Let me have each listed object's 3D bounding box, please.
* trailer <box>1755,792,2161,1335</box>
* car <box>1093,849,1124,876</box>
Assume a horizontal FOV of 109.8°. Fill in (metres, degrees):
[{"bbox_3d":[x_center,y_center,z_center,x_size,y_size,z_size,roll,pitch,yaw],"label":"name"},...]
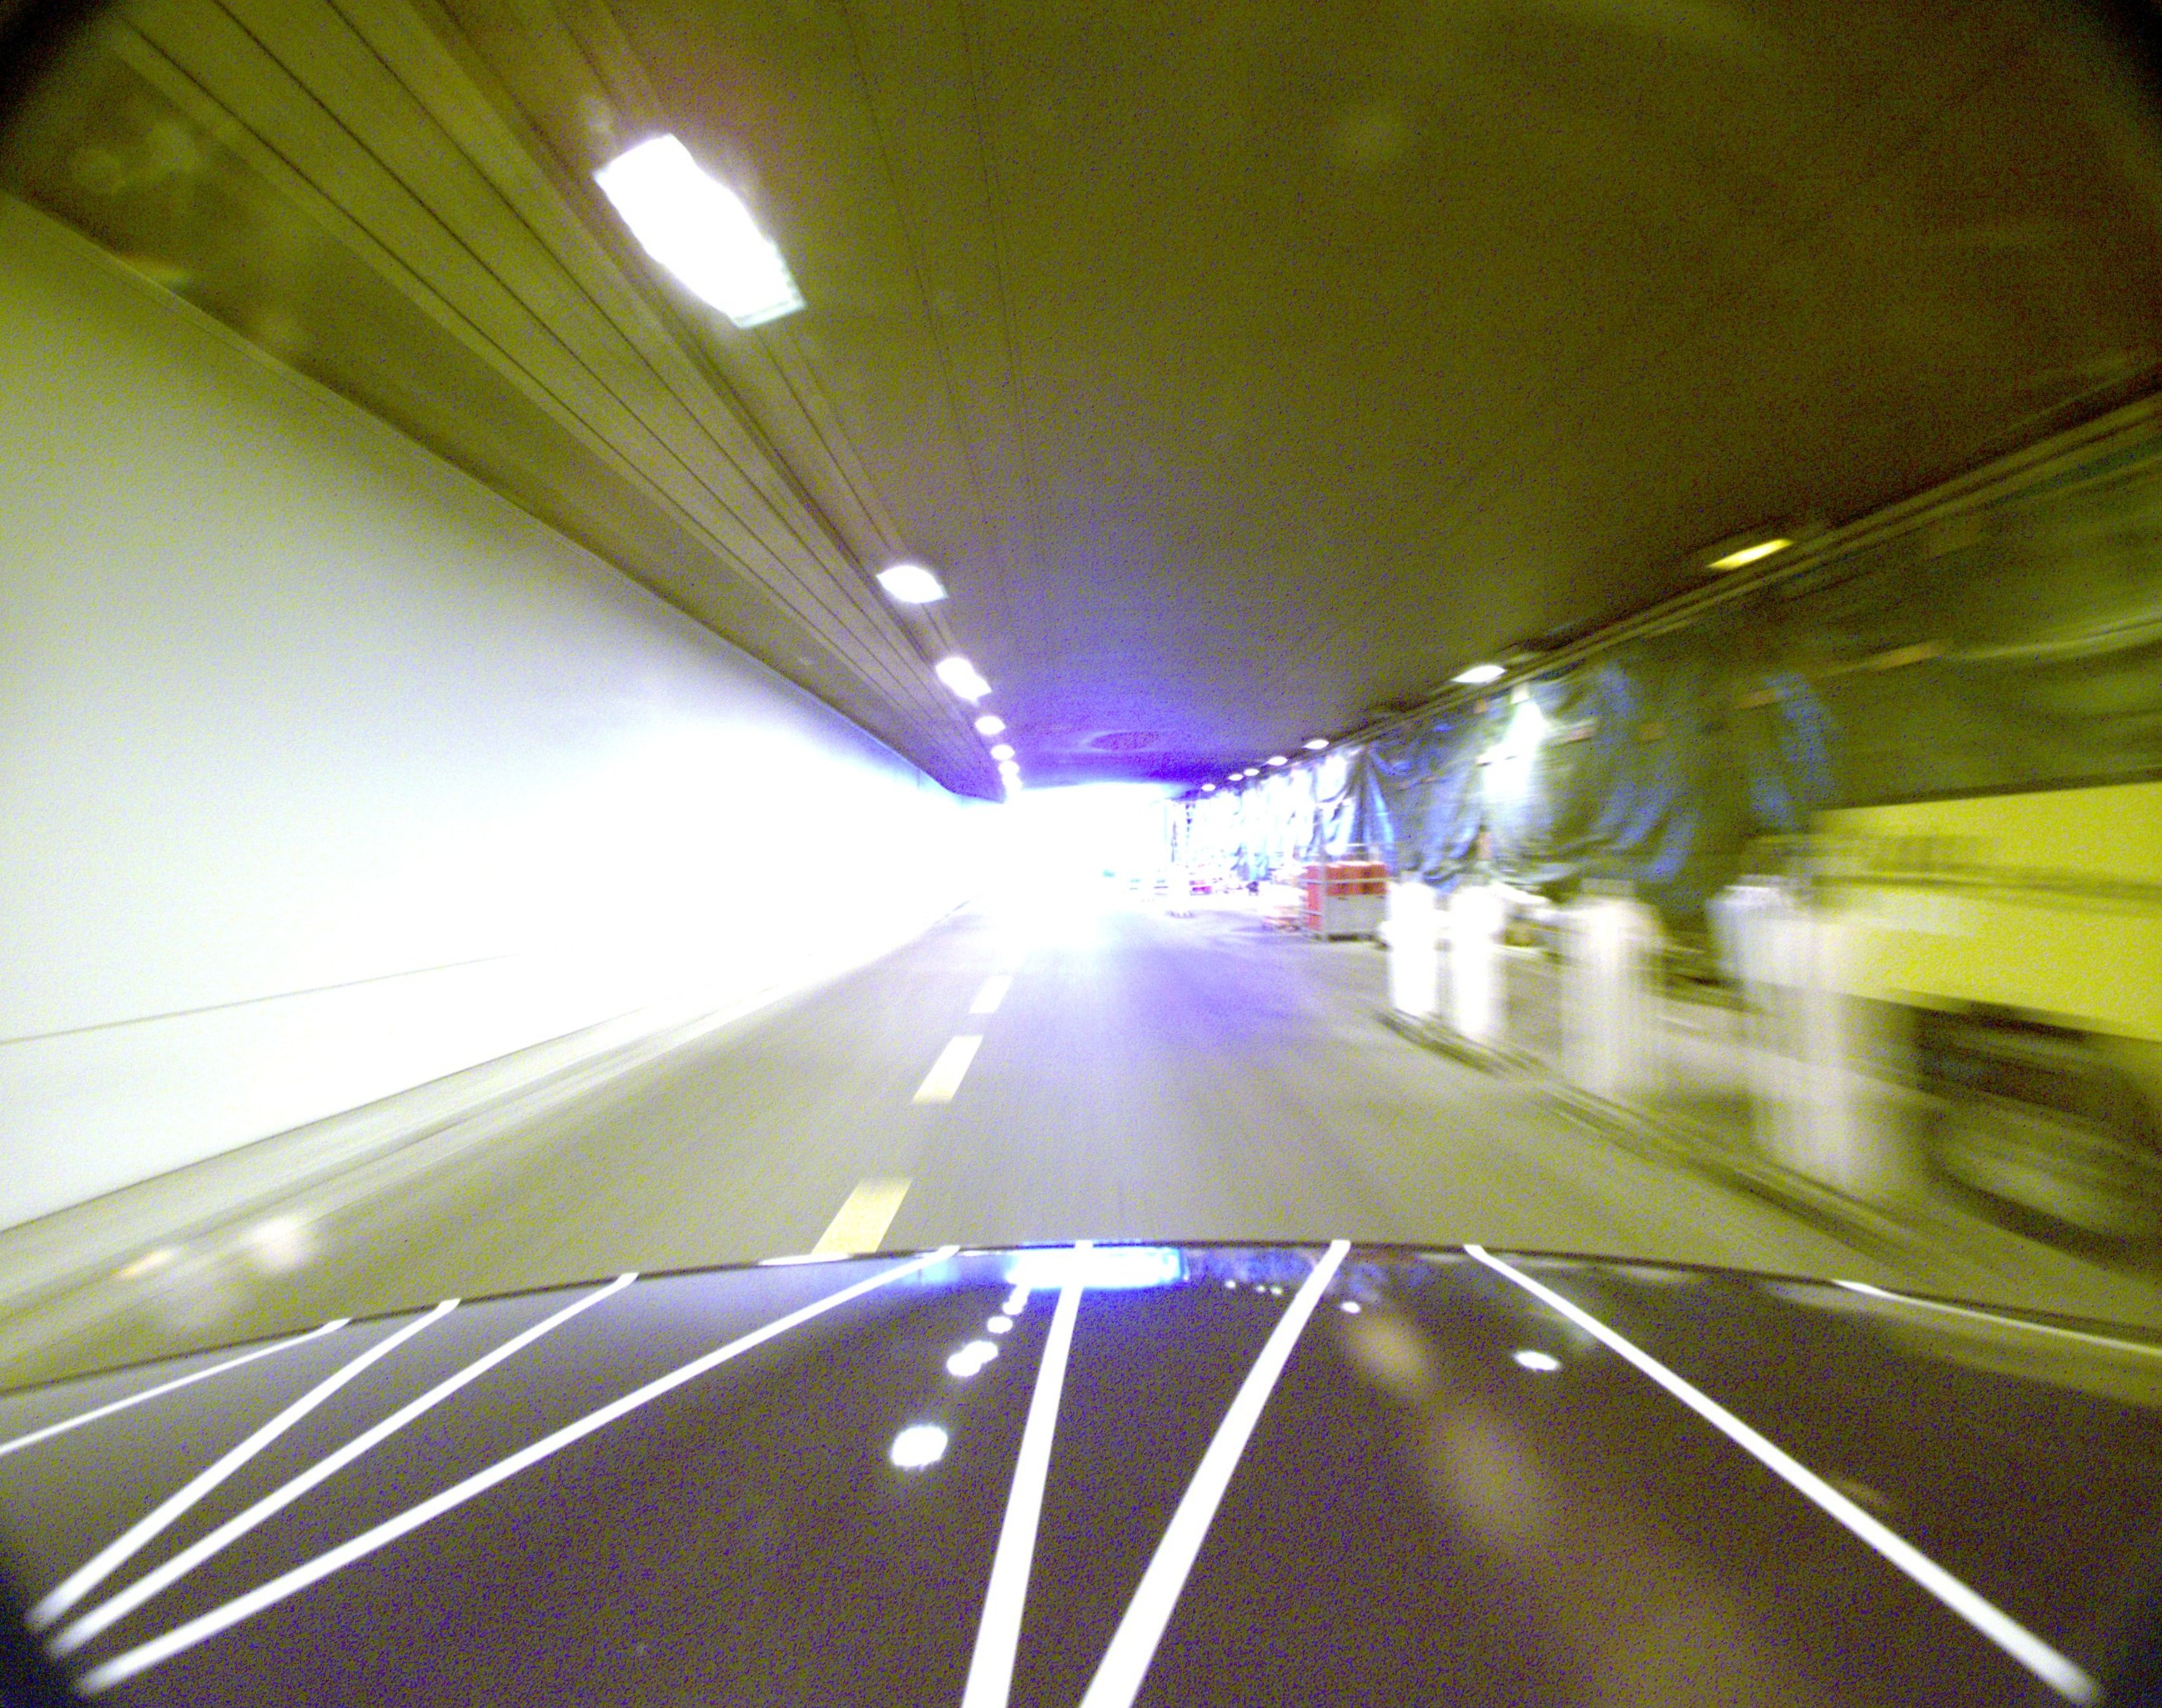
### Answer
[{"bbox_3d":[4.349,0.666,2.380,1.643,1.781,3.121,-2,1,-2],"label":"trailer"},{"bbox_3d":[1.867,0.562,52.858,1.998,1.743,3.999,-2,1,0],"label":"car"}]
